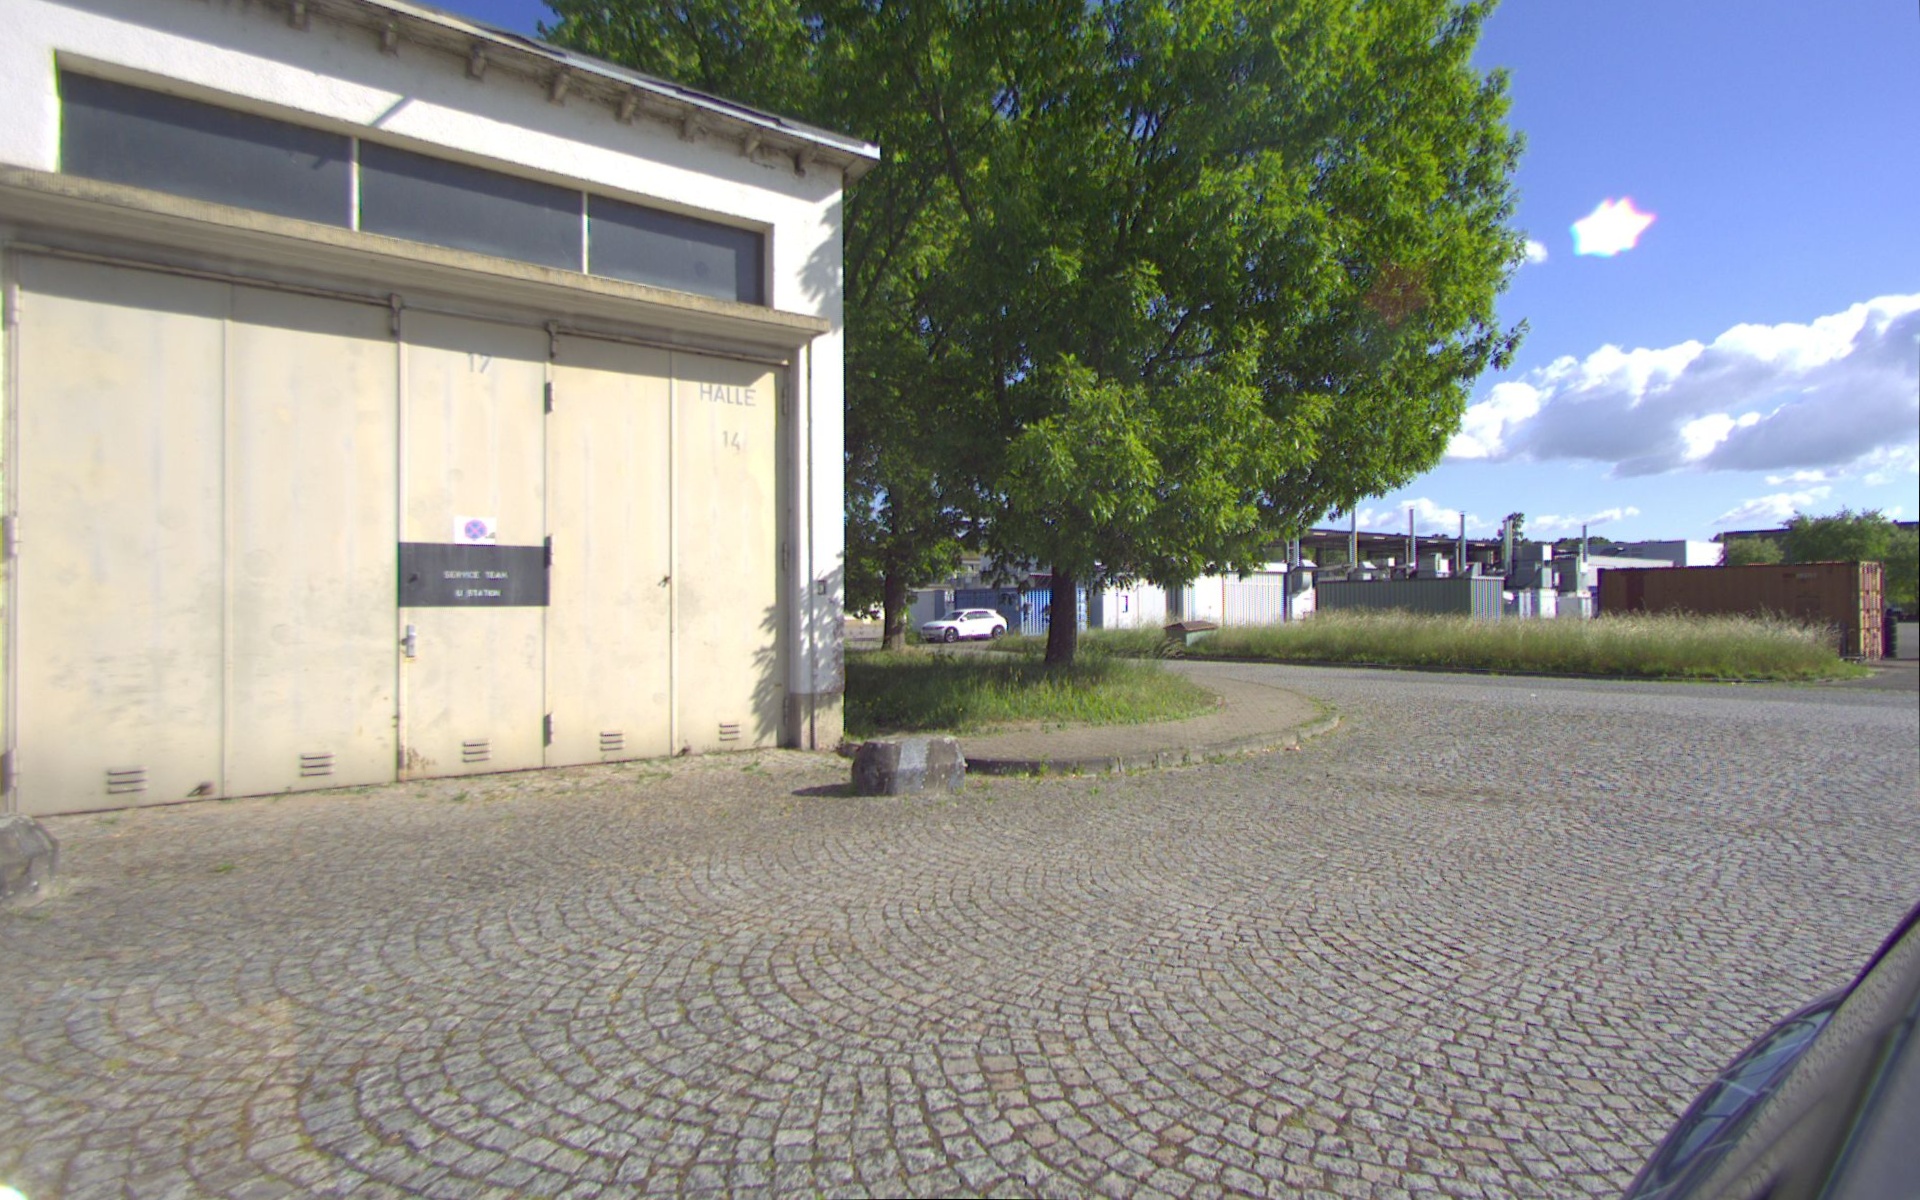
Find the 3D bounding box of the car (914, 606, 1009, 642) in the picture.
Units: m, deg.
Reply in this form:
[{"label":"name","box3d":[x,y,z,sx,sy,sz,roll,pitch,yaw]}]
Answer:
[{"label":"car","box3d":[0.103,1.150,50.225,4.516,1.699,1.874,0,-1,-36]}]
